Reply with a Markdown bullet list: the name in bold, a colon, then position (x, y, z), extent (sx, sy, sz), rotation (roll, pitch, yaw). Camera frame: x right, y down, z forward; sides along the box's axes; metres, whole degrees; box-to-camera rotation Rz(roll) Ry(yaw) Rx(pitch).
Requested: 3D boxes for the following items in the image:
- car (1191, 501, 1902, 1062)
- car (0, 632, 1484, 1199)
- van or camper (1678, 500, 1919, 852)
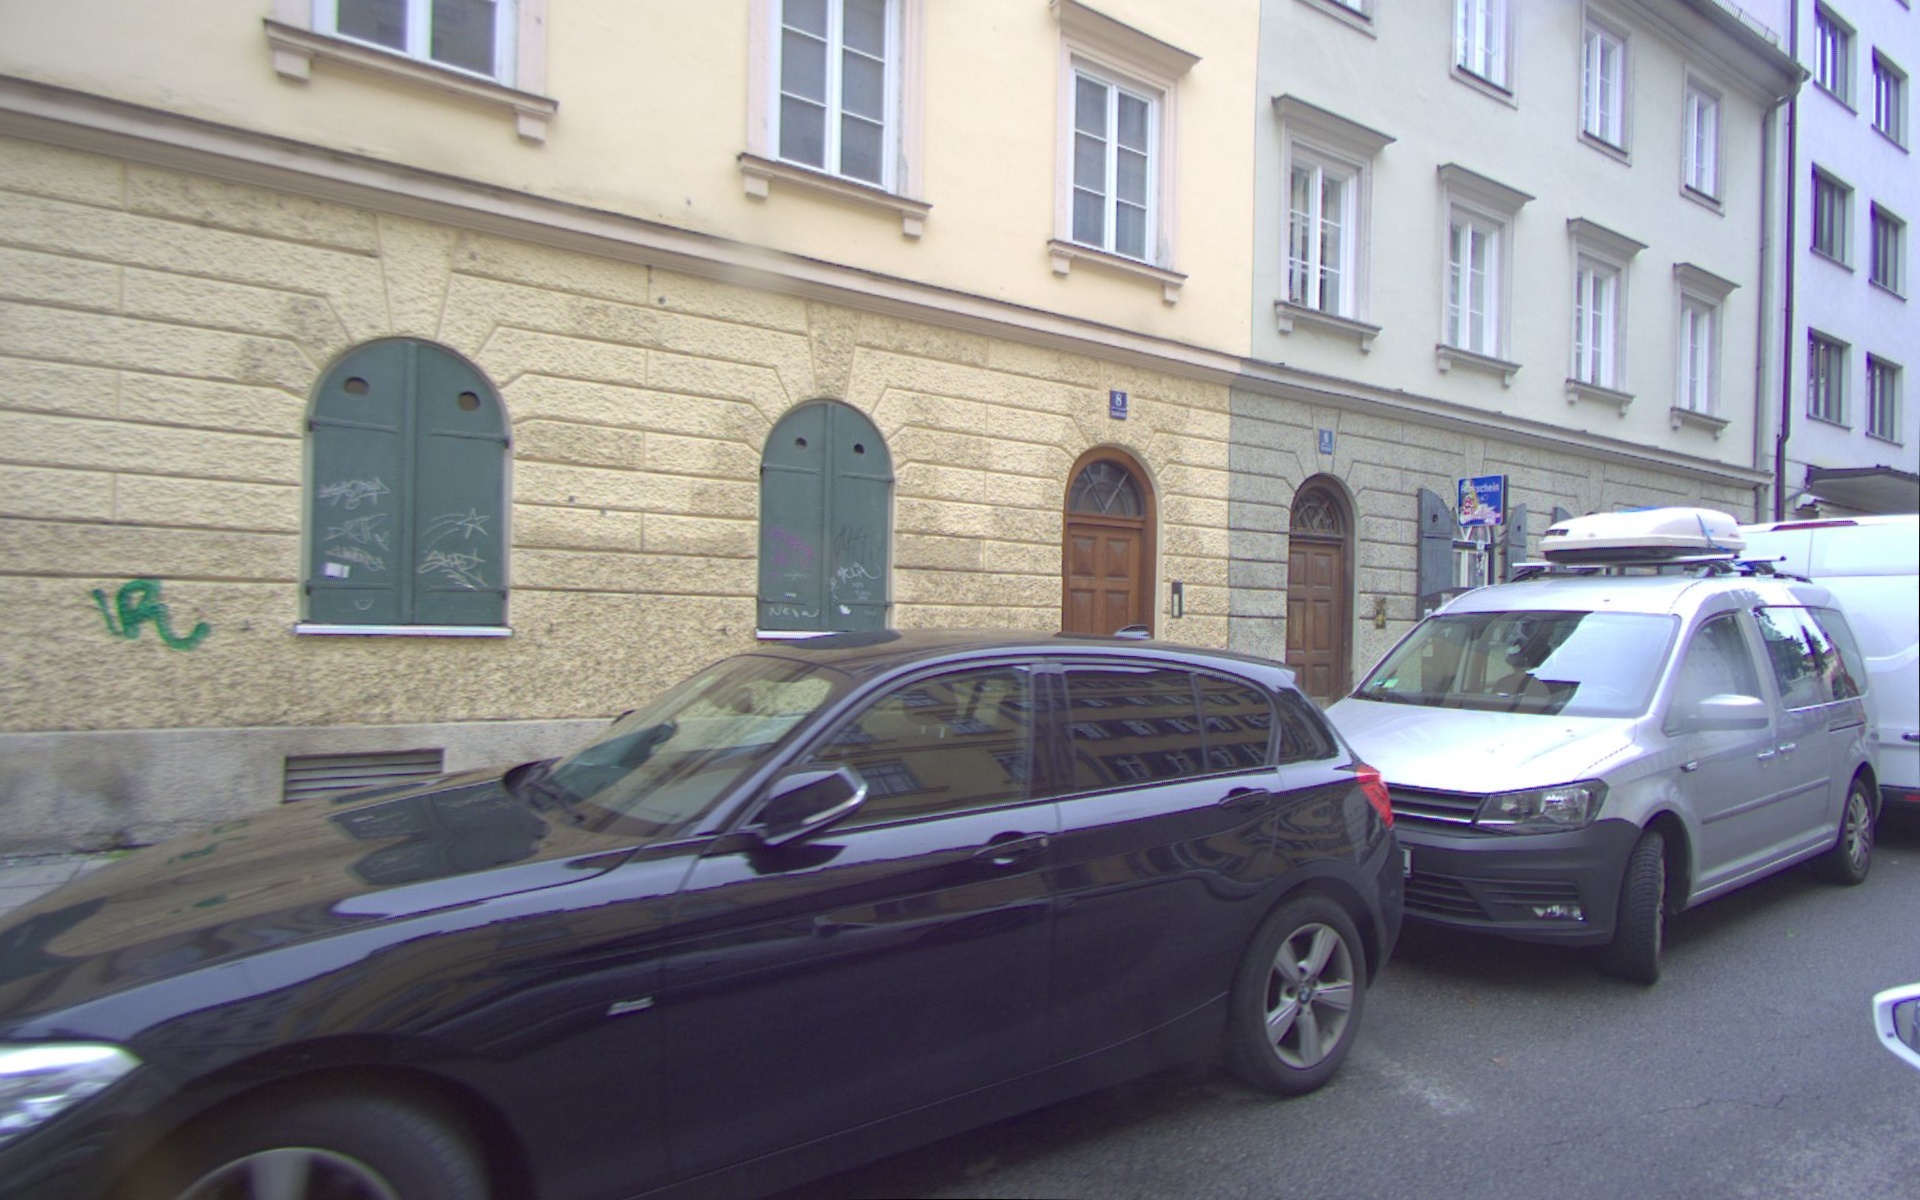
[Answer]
- **car**: position (3.532, 0.703, 5.676), extent (4.579, 2.021, 1.743), rotation (1, -1, -35)
- **car**: position (-0.317, 0.835, 3.198), extent (4.058, 1.427, 1.745), rotation (1, -1, -32)
- **van or camper**: position (8.246, 0.551, 8.457), extent (5.214, 2.311, 1.745), rotation (1, -1, -32)
